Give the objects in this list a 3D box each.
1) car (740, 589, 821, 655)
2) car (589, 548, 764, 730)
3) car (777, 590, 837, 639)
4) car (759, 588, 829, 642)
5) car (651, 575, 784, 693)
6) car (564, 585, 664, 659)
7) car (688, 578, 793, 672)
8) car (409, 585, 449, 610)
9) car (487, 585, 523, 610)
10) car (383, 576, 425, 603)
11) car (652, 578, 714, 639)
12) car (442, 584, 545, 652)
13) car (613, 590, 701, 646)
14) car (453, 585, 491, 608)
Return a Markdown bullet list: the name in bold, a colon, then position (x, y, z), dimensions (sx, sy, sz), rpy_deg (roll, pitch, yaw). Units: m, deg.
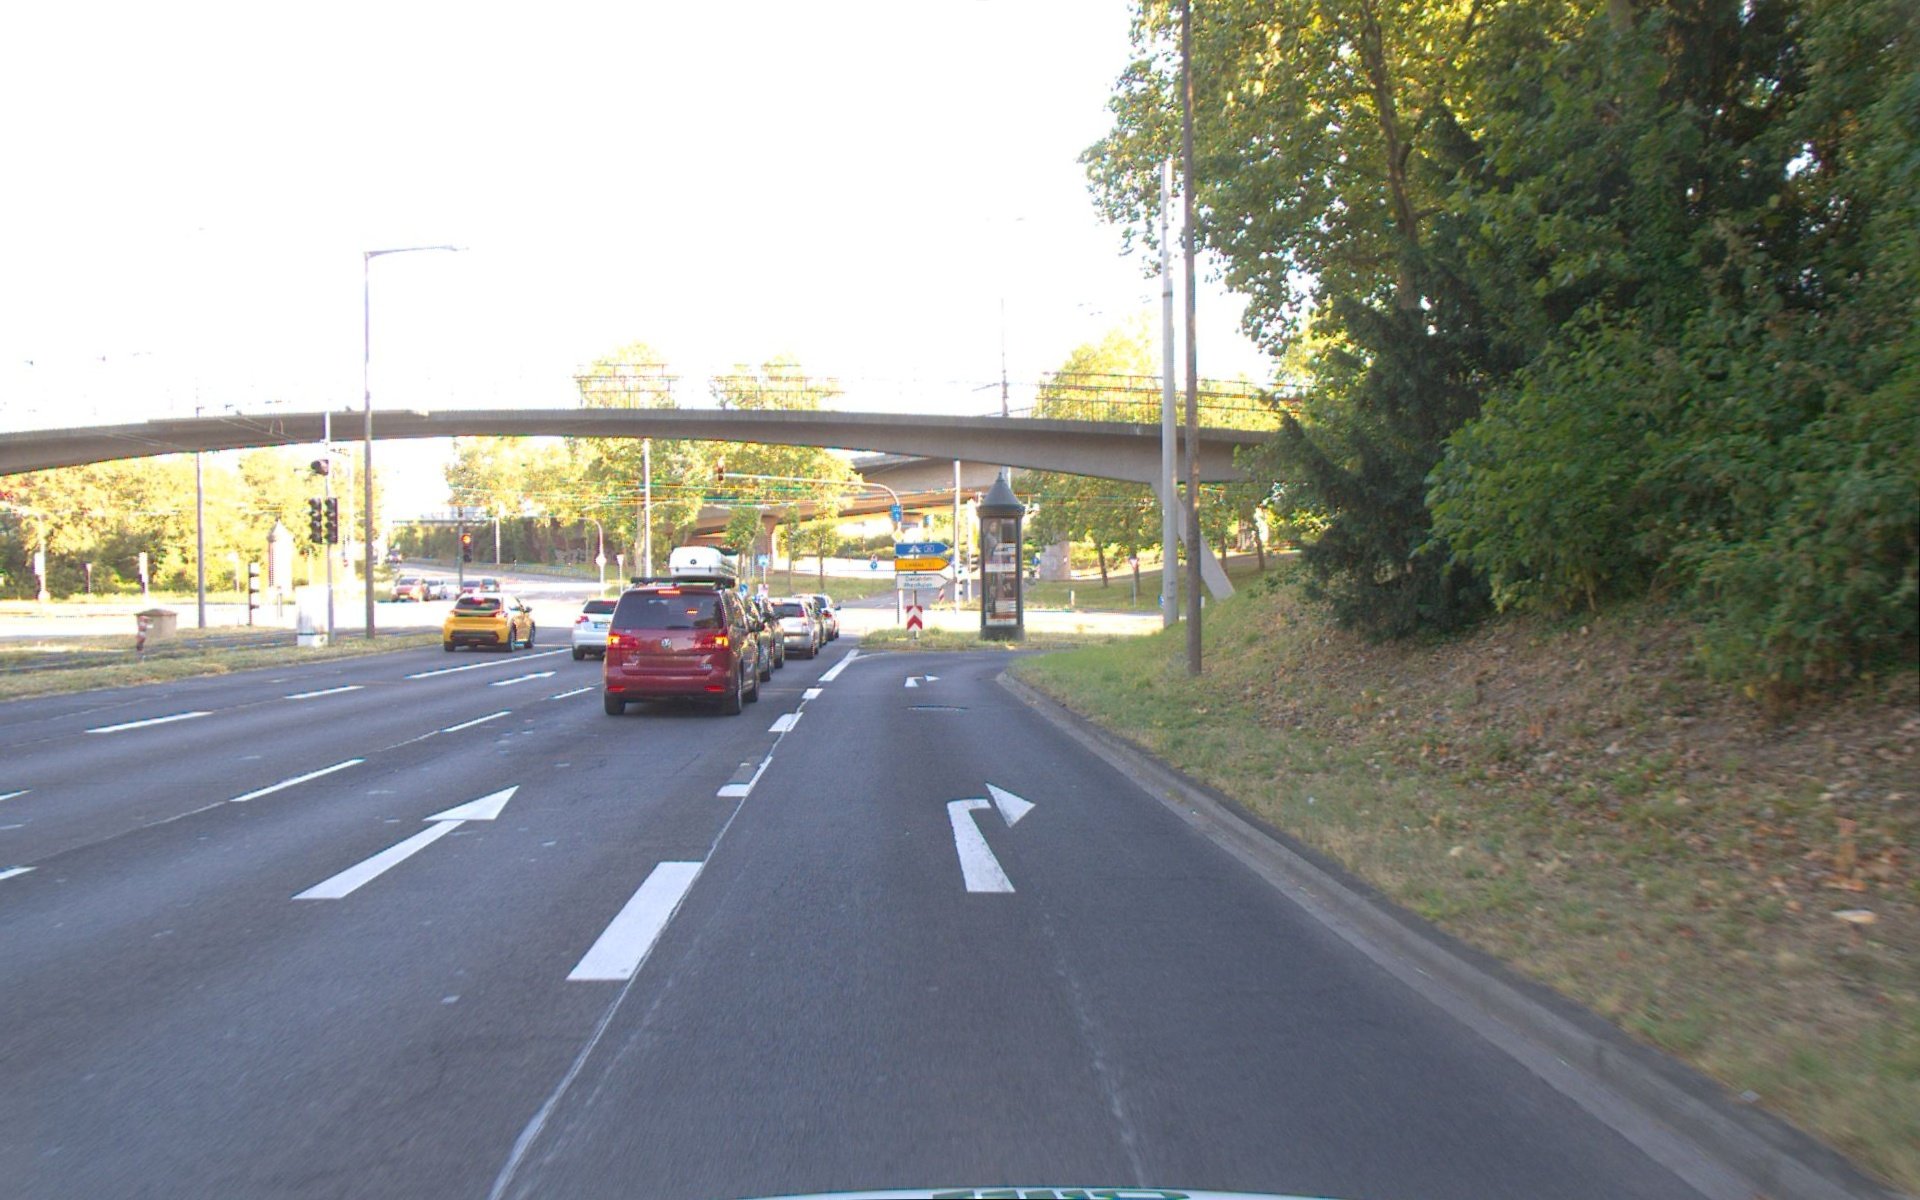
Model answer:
- **car**: position (-4.555, 0.535, 42.467), dimensions (1.756, 1.507, 3.998), rpy_deg (-2, 1, -2)
- **car**: position (-3.681, 0.444, 22.121), dimensions (1.757, 2.141, 3.998), rpy_deg (-2, 1, -3)
- **car**: position (-5.071, 0.442, 55.210), dimensions (1.756, 1.467, 3.998), rpy_deg (-2, 1, -2)
- **car**: position (-4.841, 0.410, 48.800), dimensions (1.756, 1.407, 4.474), rpy_deg (-2, 1, -2)
- **car**: position (-4.057, 0.505, 28.293), dimensions (1.756, 1.780, 4.239), rpy_deg (-2, 1, -2)
- **car**: position (-8.272, 0.482, 39.833), dimensions (1.629, 1.592, 4.189), rpy_deg (-2, 1, -2)
- **car**: position (-4.535, 0.466, 34.665), dimensions (1.756, 1.780, 3.998), rpy_deg (-2, 1, -2)
- **car**: position (-39.204, -0.199, 122.206), dimensions (1.841, 1.802, 3.997), rpy_deg (1, 1, -4)
- **car**: position (-34.145, -0.212, 124.262), dimensions (1.841, 1.802, 3.997), rpy_deg (1, 1, -4)
- **car**: position (-38.578, -0.761, 114.837), dimensions (1.841, 1.802, 3.997), rpy_deg (1, 1, -4)
- **car**: position (-9.042, 0.244, 54.262), dimensions (1.758, 1.823, 4.819), rpy_deg (-2, 1, -7)
- **car**: position (-12.049, 0.422, 42.920), dimensions (1.629, 1.592, 3.998), rpy_deg (-2, 1, -2)
- **car**: position (-8.487, 0.466, 46.653), dimensions (1.706, 1.457, 4.411), rpy_deg (1, 1, -1)
- **car**: position (-34.672, -0.279, 117.539), dimensions (1.841, 1.602, 3.672), rpy_deg (1, 1, -4)
